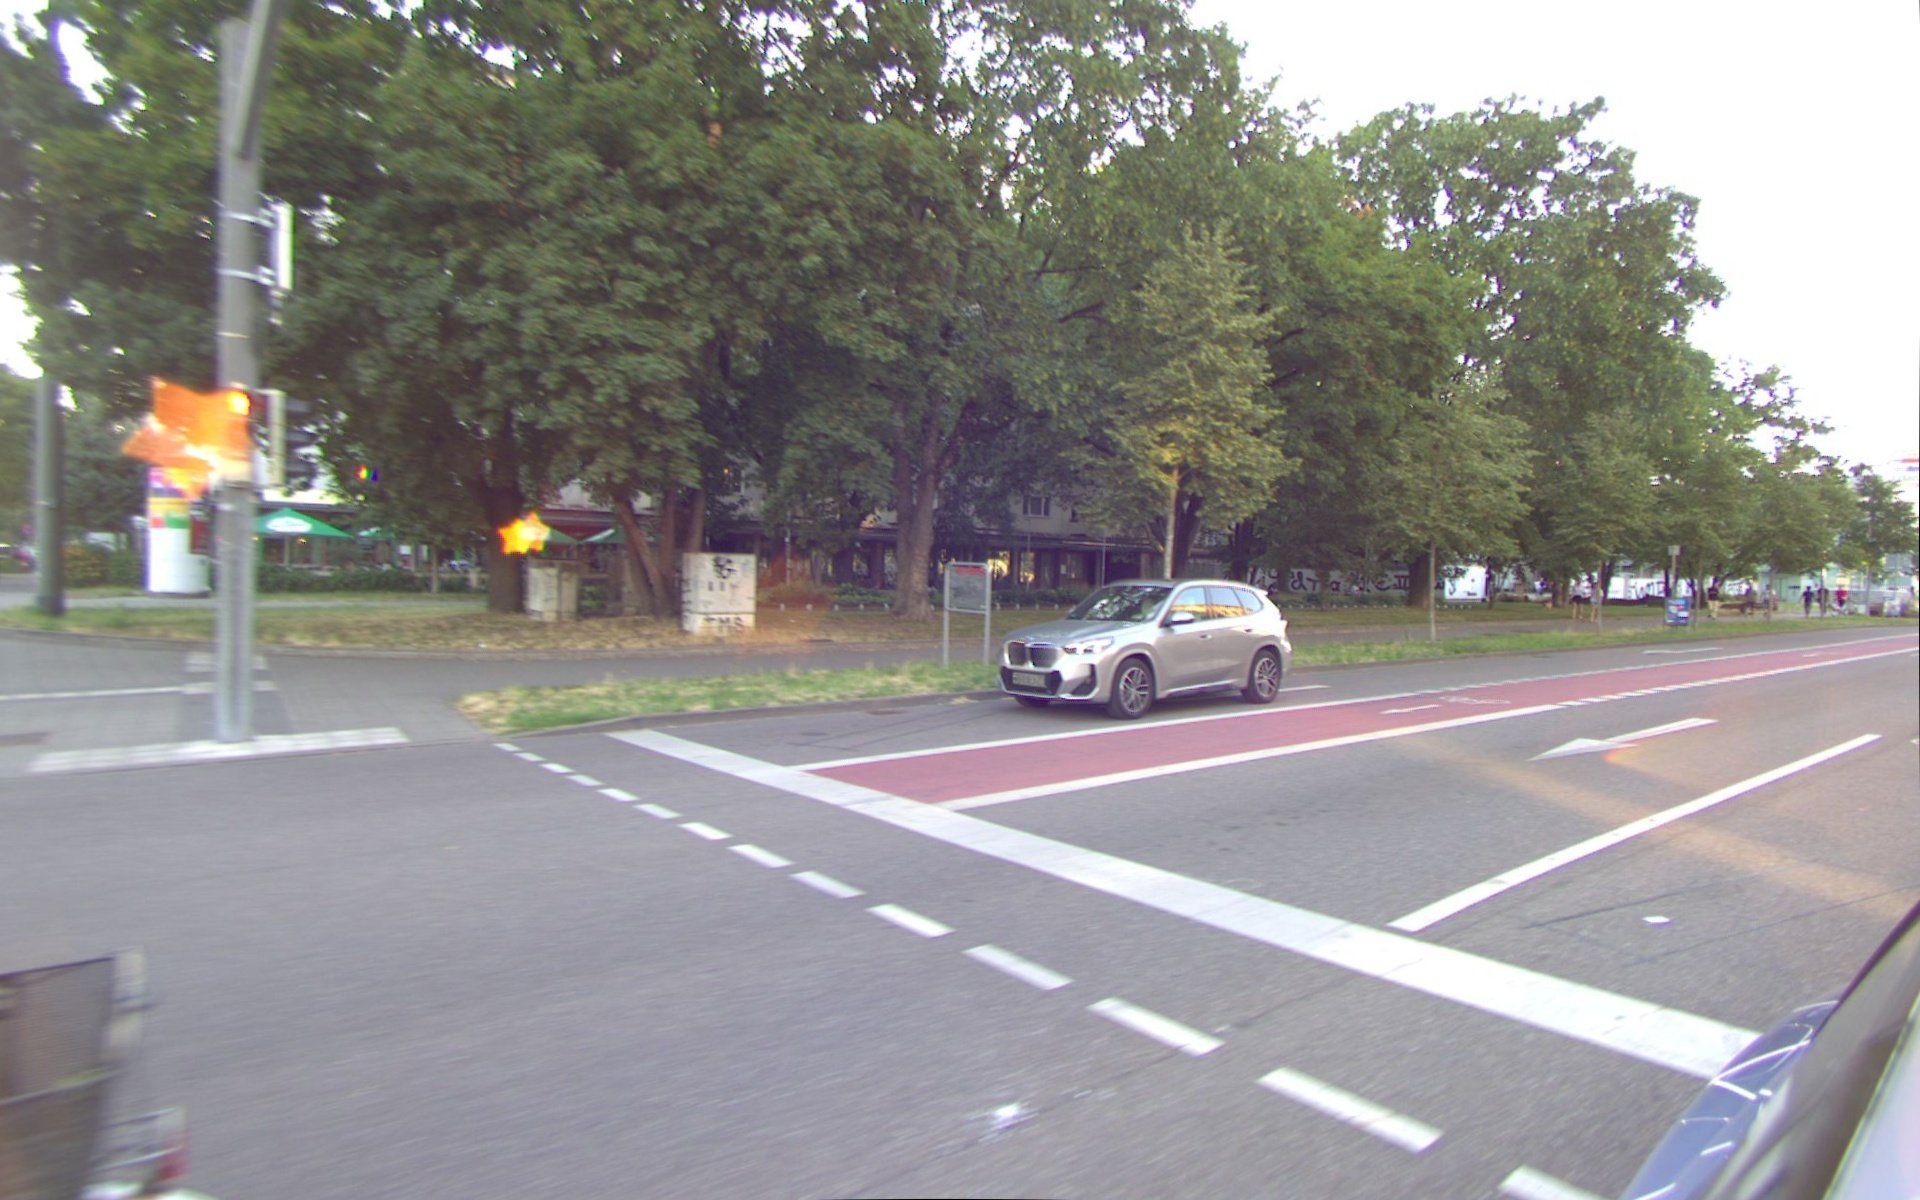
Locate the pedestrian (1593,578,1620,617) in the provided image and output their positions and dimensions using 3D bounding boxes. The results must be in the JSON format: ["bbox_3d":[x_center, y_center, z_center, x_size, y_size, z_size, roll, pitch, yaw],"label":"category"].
[{"bbox_3d":[25.597,-0.115,40.072,0.634,1.515,0.677,0,2,-36],"label":"pedestrian"}]

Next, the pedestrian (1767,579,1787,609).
[{"bbox_3d":[42.103,-0.315,52.165,0.634,1.481,0.632,0,2,-36],"label":"pedestrian"}]

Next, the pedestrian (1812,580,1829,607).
[{"bbox_3d":[45.824,-0.369,53.921,0.629,1.412,0.637,2,2,39],"label":"pedestrian"}]

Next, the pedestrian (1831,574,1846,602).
[{"bbox_3d":[52.703,-0.729,60.726,0.629,1.686,0.637,2,2,39],"label":"pedestrian"}]

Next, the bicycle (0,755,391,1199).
[{"bbox_3d":[-1.702,0.850,0.861,2.049,1.128,0.609,0,2,-40],"label":"bicycle"}]

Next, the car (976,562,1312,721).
[{"bbox_3d":[2.452,0.413,12.929,4.267,1.684,1.886,0,2,-39],"label":"car"}]

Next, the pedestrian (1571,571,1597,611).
[{"bbox_3d":[25.032,-0.366,40.613,0.665,1.614,0.646,0,2,-35],"label":"pedestrian"}]

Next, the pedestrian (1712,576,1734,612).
[{"bbox_3d":[35.722,-0.287,47.373,0.633,1.683,0.632,0,2,-34],"label":"pedestrian"}]
